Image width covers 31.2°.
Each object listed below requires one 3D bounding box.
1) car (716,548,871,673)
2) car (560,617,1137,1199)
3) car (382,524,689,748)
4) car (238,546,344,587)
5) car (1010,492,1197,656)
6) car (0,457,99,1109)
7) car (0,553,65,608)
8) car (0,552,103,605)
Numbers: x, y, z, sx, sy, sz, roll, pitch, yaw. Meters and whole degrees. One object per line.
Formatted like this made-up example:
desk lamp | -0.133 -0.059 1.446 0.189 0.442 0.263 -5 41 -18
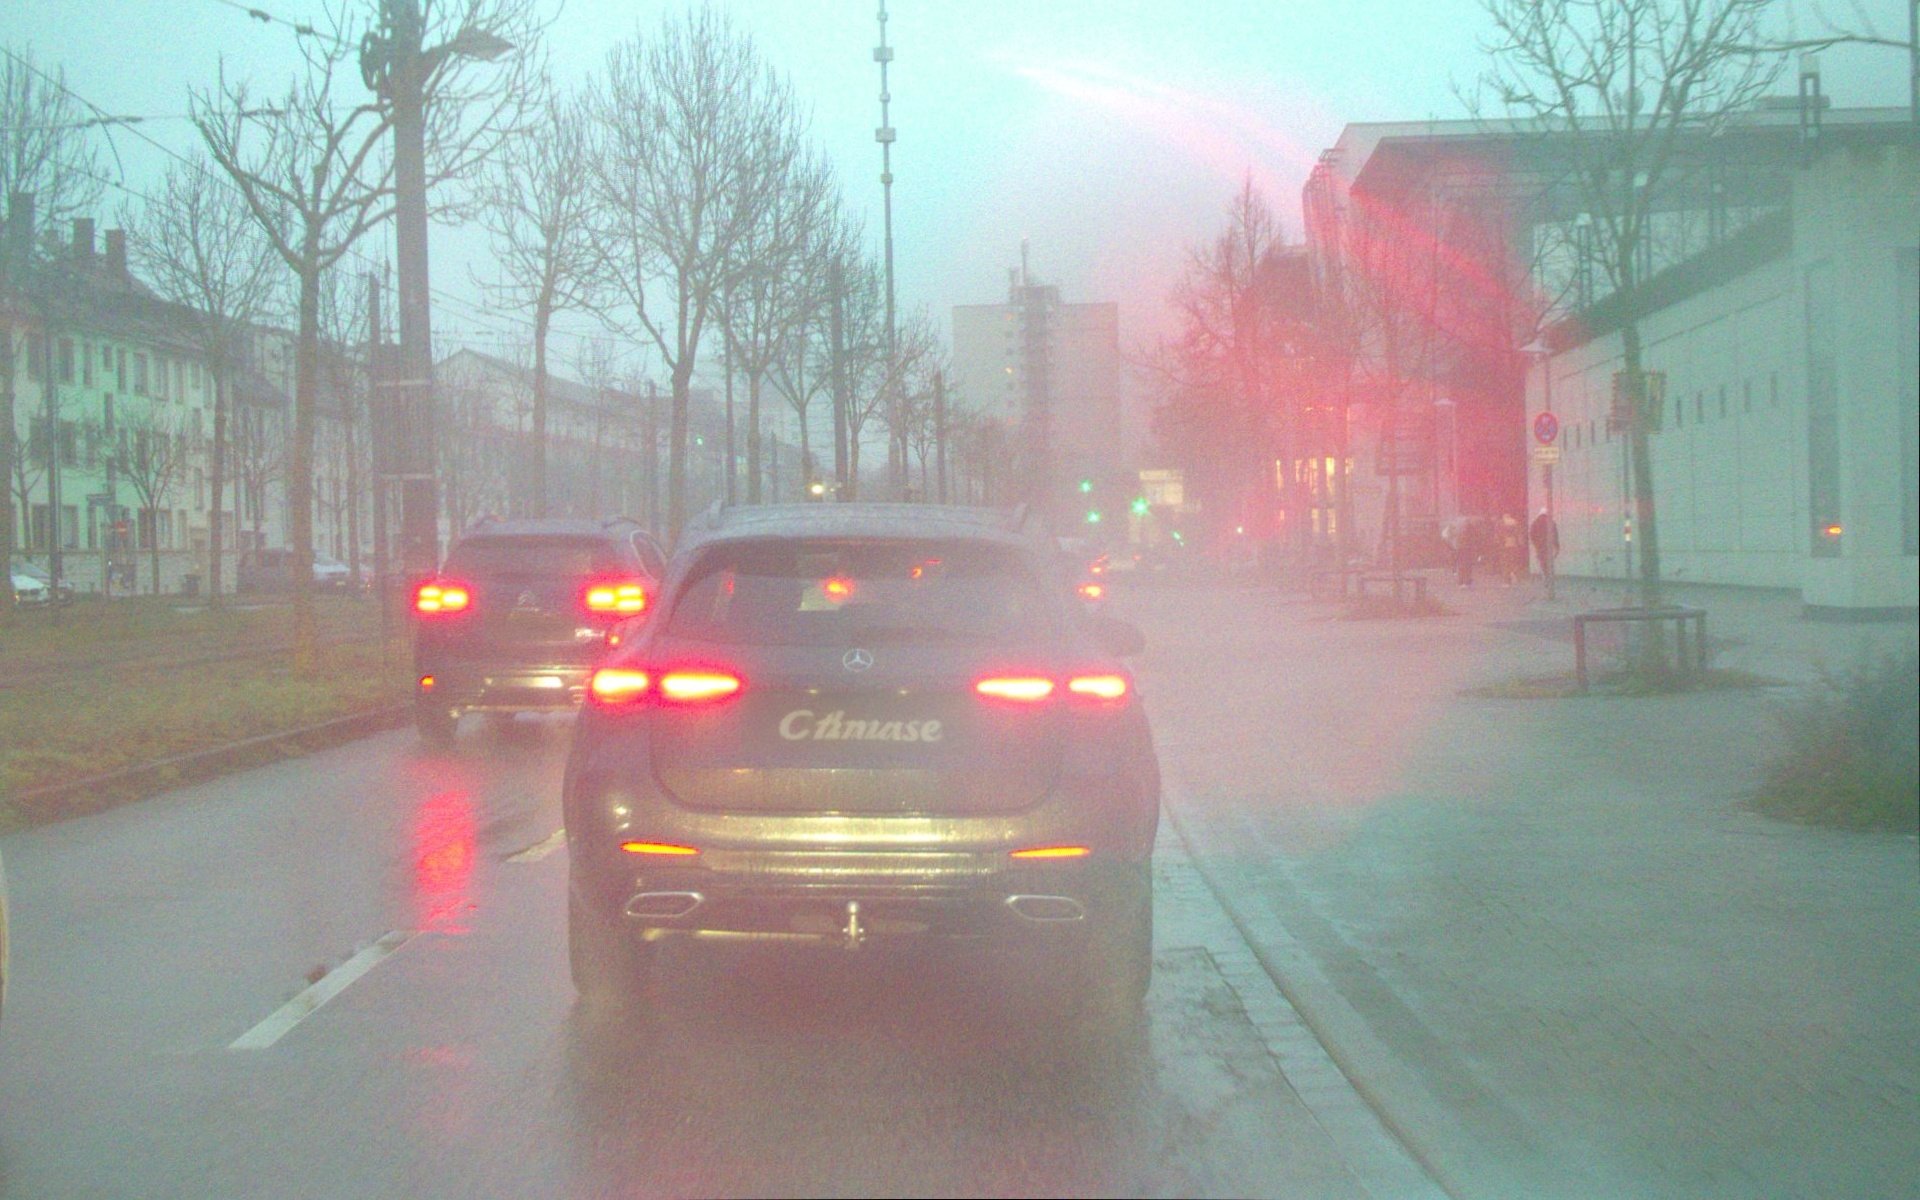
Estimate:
car | -2.194 0.105 46.288 1.672 1.594 4.053 0 1 3
car | -0.222 0.911 12.024 1.672 1.594 4.053 0 1 3
car | -3.199 0.220 26.640 1.672 1.594 4.053 0 1 3
car | -24.100 -1.200 123.896 3.552 1.349 1.778 -1 2 36
car | 1.663 -0.321 39.335 1.994 1.738 4.000 -1 1 3
car | -3.205 0.473 7.289 1.672 1.594 4.054 0 1 1
car | -25.178 -0.501 89.482 3.552 1.349 1.778 -1 2 36
car | -25.113 -0.565 93.092 3.552 1.349 1.778 -1 2 36
